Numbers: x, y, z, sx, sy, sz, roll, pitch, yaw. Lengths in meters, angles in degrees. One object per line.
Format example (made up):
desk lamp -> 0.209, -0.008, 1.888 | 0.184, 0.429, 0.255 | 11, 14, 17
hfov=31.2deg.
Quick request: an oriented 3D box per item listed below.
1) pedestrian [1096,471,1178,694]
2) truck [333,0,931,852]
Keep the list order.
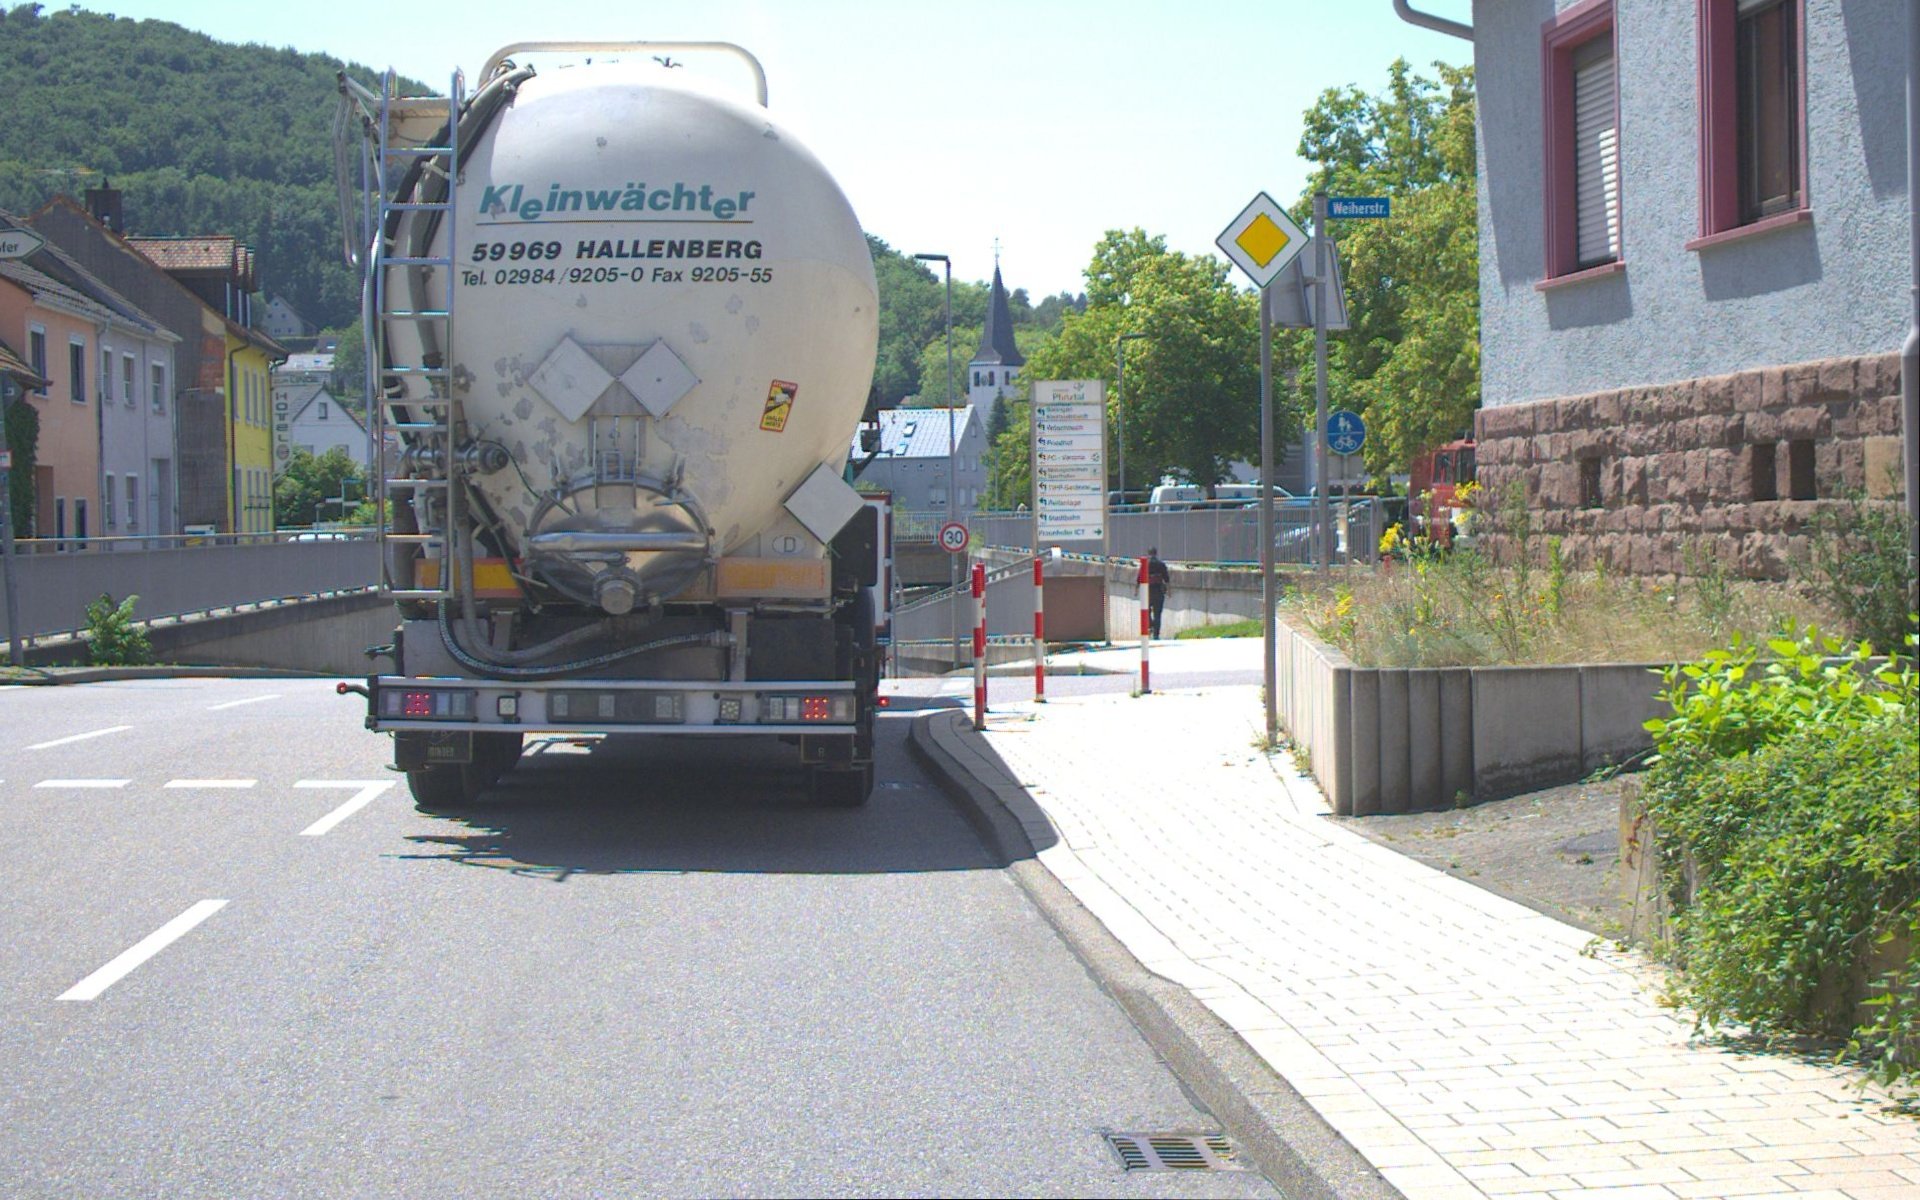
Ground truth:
pedestrian -> 1.365, -0.135, 26.577 | 0.571, 1.688, 0.721 | 1, 0, -1
truck -> -2.022, -0.983, 21.317 | 2.749, 4.043, 10.892 | 0, 1, -5
